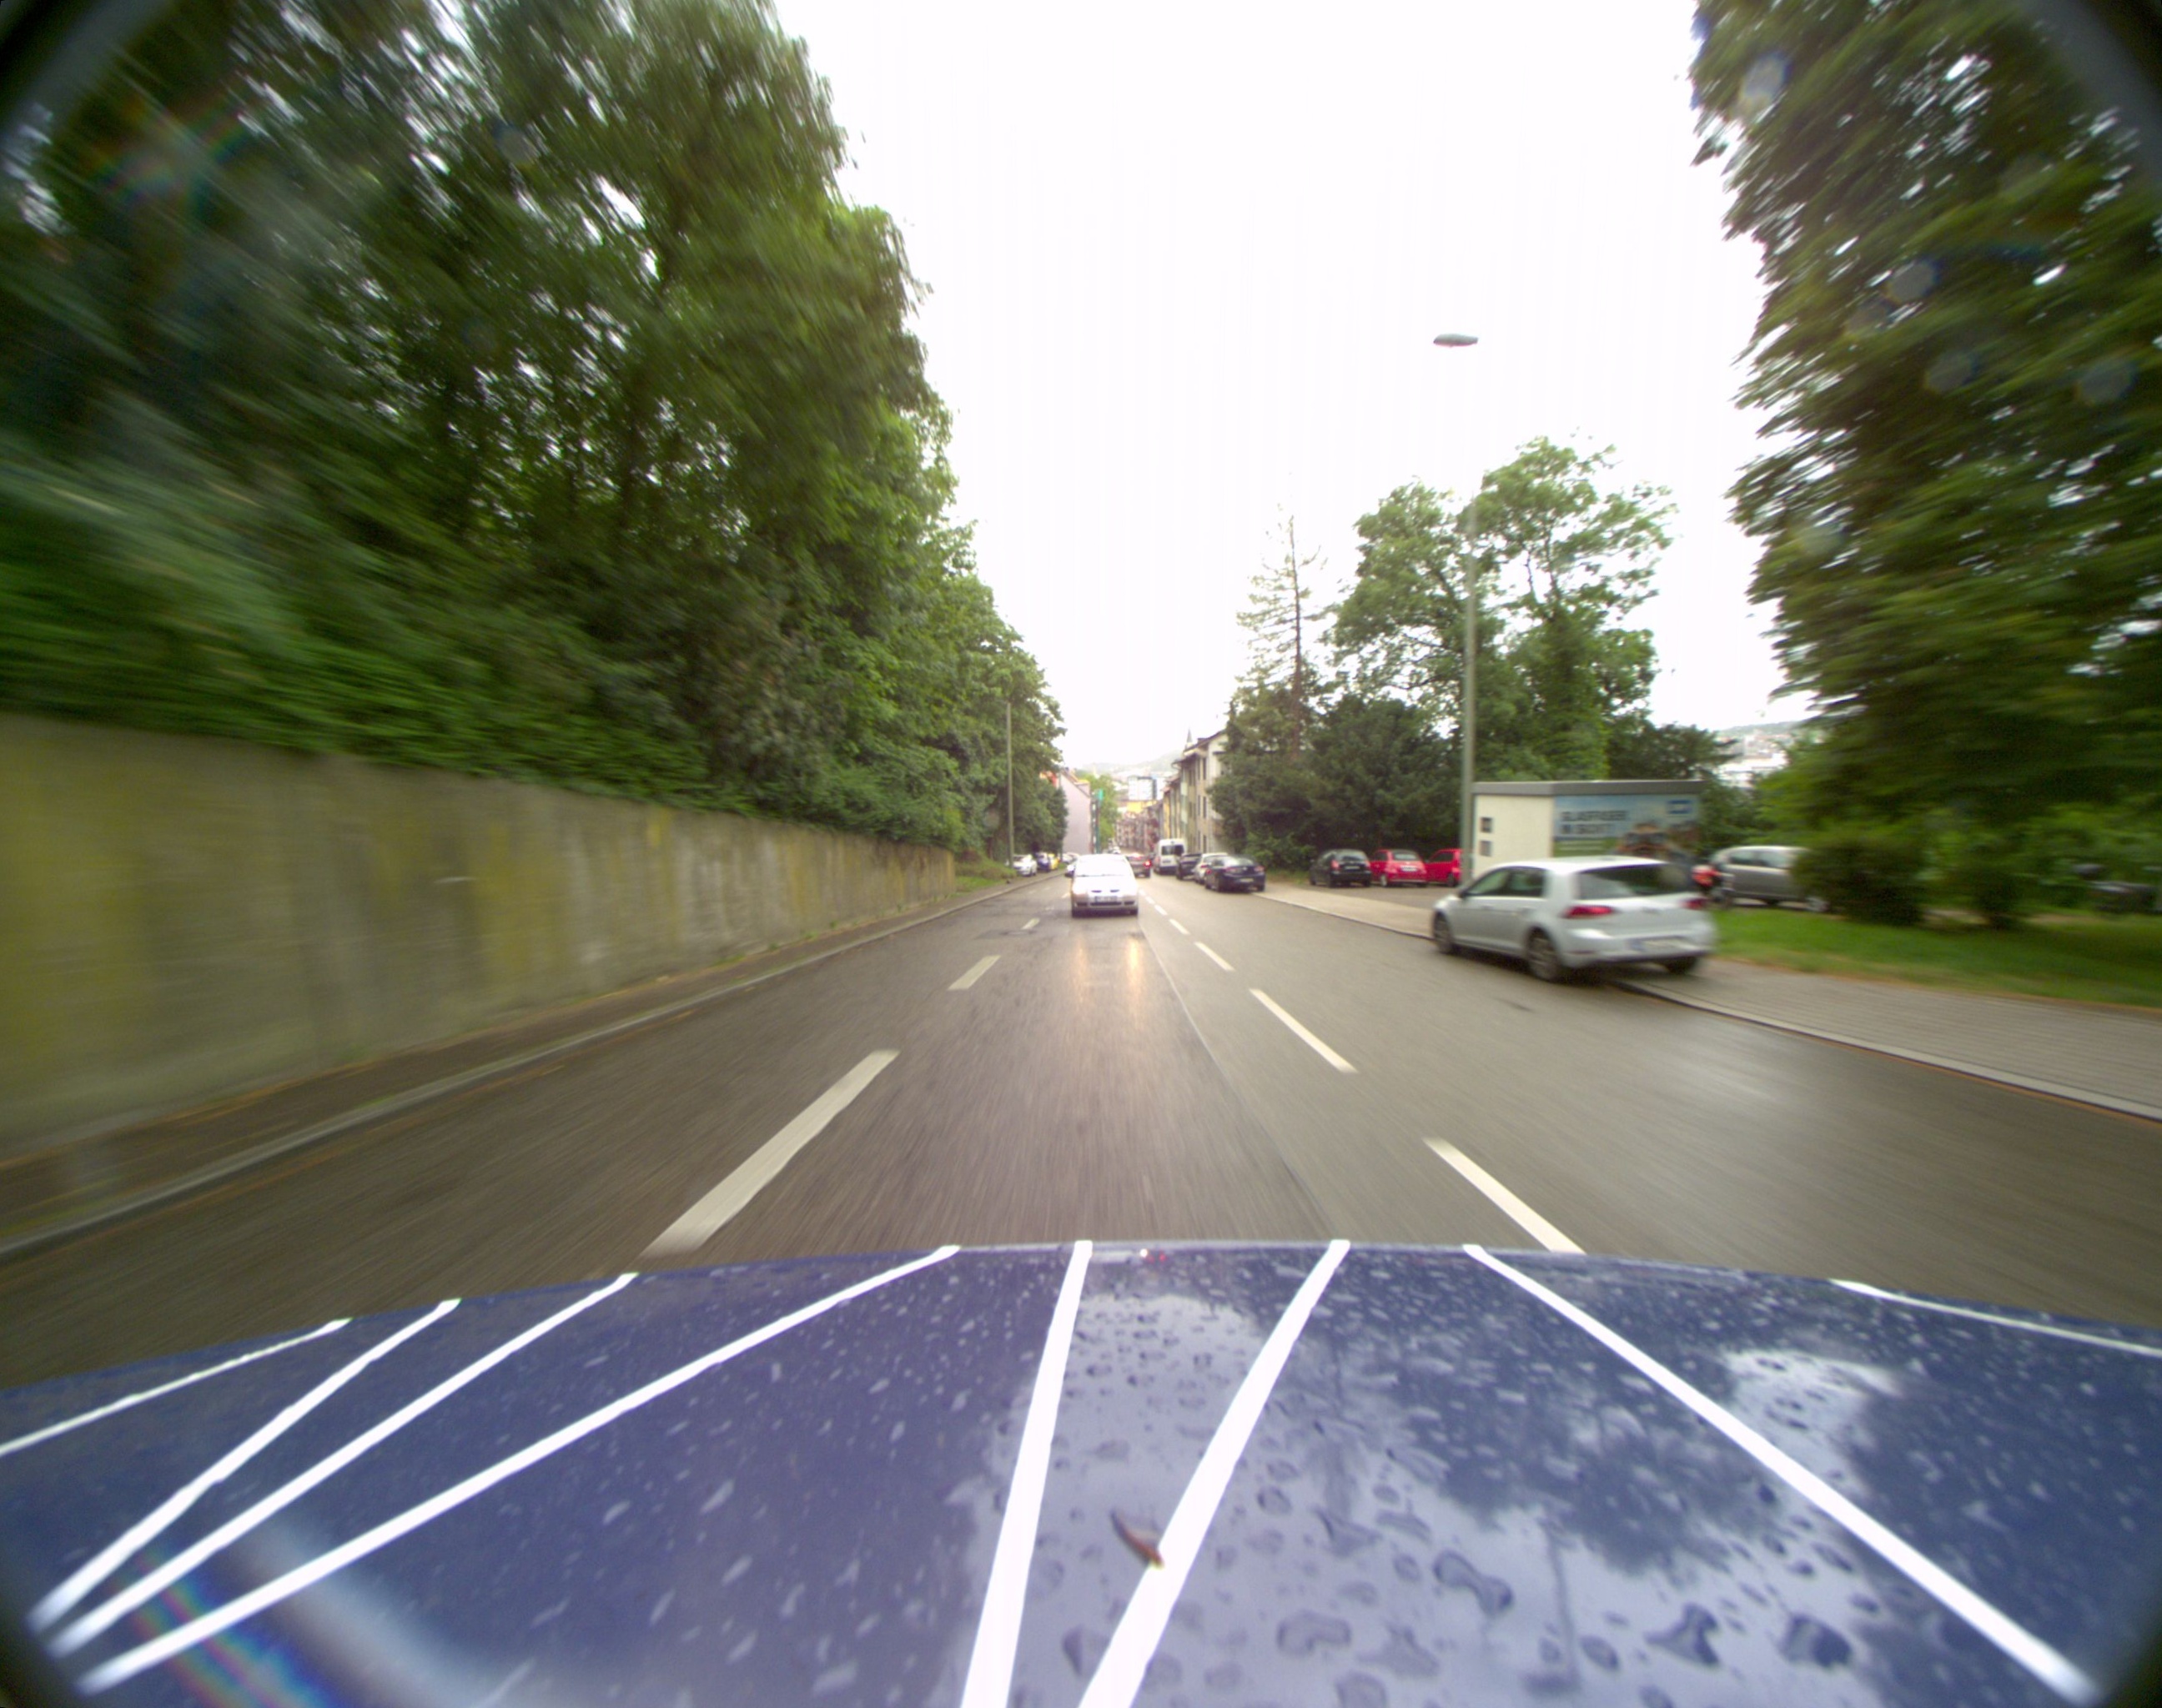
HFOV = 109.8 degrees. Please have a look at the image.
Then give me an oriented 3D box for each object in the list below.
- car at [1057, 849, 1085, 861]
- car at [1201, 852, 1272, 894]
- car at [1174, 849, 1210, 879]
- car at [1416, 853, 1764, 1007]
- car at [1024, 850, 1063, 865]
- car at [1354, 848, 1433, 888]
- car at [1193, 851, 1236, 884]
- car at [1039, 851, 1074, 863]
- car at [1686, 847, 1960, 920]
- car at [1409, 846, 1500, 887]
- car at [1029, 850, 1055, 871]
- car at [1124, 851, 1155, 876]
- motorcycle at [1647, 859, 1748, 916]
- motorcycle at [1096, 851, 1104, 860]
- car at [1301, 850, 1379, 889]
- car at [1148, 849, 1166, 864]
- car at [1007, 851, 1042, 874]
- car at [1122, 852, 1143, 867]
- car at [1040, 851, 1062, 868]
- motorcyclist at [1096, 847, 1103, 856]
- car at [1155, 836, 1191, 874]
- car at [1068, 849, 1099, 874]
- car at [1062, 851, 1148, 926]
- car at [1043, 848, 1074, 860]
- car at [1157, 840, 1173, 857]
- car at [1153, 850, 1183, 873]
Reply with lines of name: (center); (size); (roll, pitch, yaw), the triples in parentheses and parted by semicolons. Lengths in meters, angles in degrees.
car: (-1.516, 0.075, 115.886); (4.192, 1.635, 1.803); (2, 2, 3)
car: (6.218, 0.705, 30.952); (1.864, 1.485, 4.755); (2, 0, 0)
car: (6.367, 0.557, 43.830); (1.648, 1.595, 4.186); (1, 1, 3)
car: (6.401, 0.817, 10.291); (1.891, 1.602, 4.239); (1, 0, 1)
car: (-4.215, 0.360, 86.037); (4.192, 1.584, 1.804); (-2, 1, 3)
car: (12.406, 0.516, 30.392); (1.625, 1.450, 3.774); (-1, 0, 1)
car: (6.564, 0.627, 37.703); (1.659, 1.560, 4.149); (0, 0, 4)
car: (-2.993, 0.367, 93.919); (4.192, 1.408, 1.804); (1, 1, 3)
car: (16.803, 0.586, 17.600); (1.950, 1.450, 4.395); (-1, 0, -2)
car: (14.666, 0.448, 30.112); (1.599, 1.450, 4.242); (-1, 0, 1)
car: (-3.207, 0.471, 63.092); (1.769, 1.614, 4.679); (-1, 1, 2)
car: (3.716, 0.583, 48.794); (1.765, 1.482, 4.000); (0, 0, 2)
motorcycle: (14.117, 0.725, 17.503); (0.601, 1.182, 2.278); (-1, 1, 4)
motorcycle: (2.506, 0.162, 100.839); (0.778, 1.120, 2.300); (-3, 1, 5)
car: (10.328, 0.568, 30.636); (1.727, 1.450, 4.396); (-1, 0, 1)
car: (8.467, 0.281, 84.788); (1.696, 1.584, 4.000); (0, 1, 2)
car: (-3.814, 0.573, 52.294); (1.742, 1.469, 4.741); (1, 0, 4)
car: (5.105, 0.544, 75.666); (1.729, 1.427, 3.912); (1, 0, 0)
car: (-2.753, 0.477, 70.828); (1.567, 1.458, 3.899); (1, 1, 4)
motorcyclist: (2.476, -0.341, 100.783); (0.778, 1.120, 0.549); (-3, 1, 5)
car: (6.591, 0.058, 54.994); (2.122, 2.536, 5.444); (1, 1, 3)
car: (0.204, 0.512, 53.892); (1.998, 1.603, 3.967); (-1, 1, 2)
car: (0.719, 0.786, 19.327); (1.825, 1.603, 4.190); (-2, 1, 6)
car: (-3.189, -0.034, 108.447); (4.192, 1.565, 1.804); (2, 1, 3)
car: (13.171, -0.899, 119.842); (2.122, 2.536, 5.444); (1, 1, 3)
car: (6.897, 0.560, 60.619); (1.970, 1.729, 4.885); (1, 0, 1)
